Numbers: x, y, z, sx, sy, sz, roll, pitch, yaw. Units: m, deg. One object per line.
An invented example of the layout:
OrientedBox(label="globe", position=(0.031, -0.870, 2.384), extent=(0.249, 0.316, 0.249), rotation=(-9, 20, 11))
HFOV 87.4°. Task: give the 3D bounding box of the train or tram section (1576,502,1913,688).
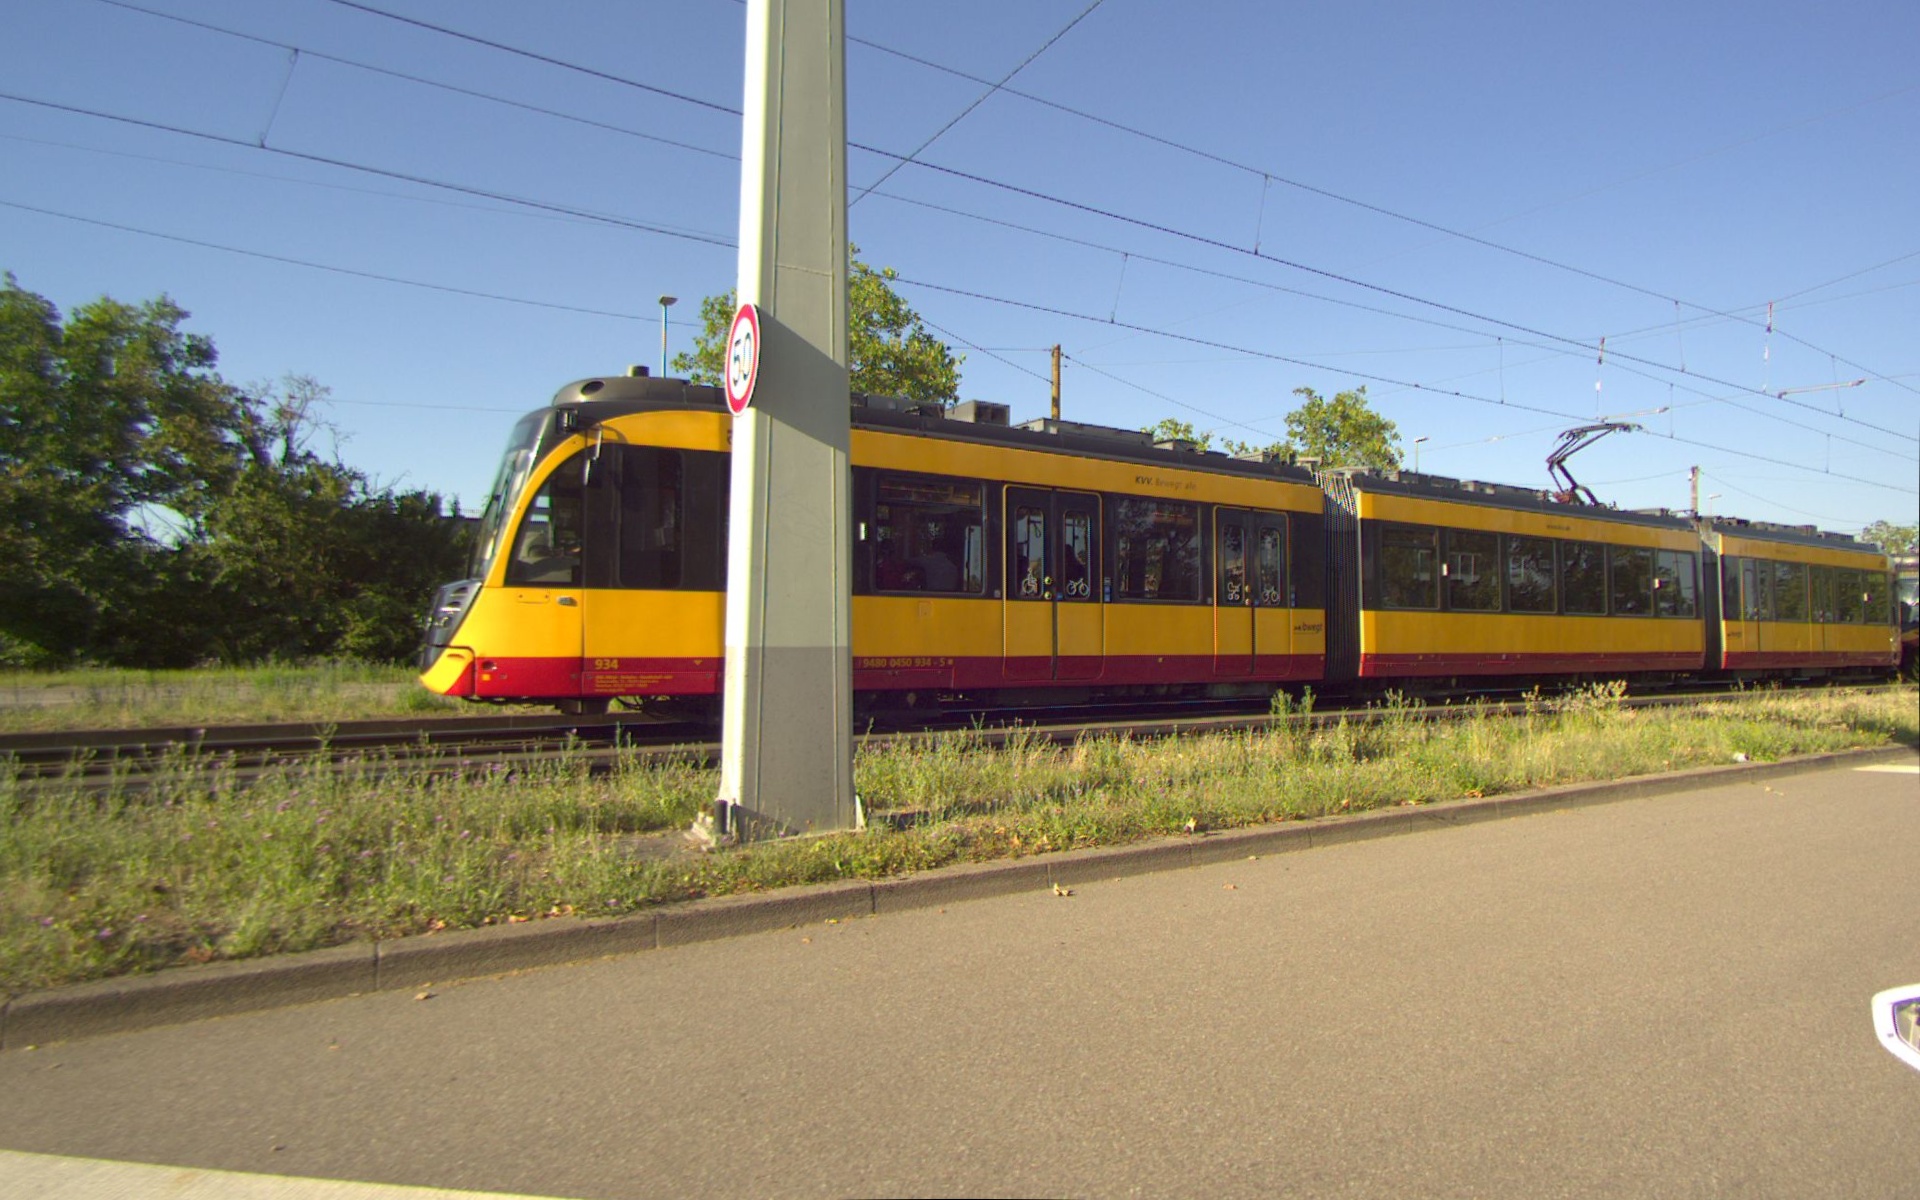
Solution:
OrientedBox(label="train or tram section", position=(20.342, 0.036, 25.635), extent=(11.679, 3.954, 2.789), rotation=(2, 0, -31))

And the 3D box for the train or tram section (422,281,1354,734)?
OrientedBox(label="train or tram section", position=(-0.025, -0.650, 13.146), extent=(12.192, 3.954, 2.789), rotation=(2, 0, -31))

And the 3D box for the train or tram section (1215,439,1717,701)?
OrientedBox(label="train or tram section", position=(10.286, -0.302, 19.469), extent=(11.855, 3.954, 2.789), rotation=(2, 0, -31))

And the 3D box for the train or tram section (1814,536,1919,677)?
OrientedBox(label="train or tram section", position=(32.103, 0.341, 32.586), extent=(12.561, 4.003, 2.809), rotation=(2, 0, -31))
